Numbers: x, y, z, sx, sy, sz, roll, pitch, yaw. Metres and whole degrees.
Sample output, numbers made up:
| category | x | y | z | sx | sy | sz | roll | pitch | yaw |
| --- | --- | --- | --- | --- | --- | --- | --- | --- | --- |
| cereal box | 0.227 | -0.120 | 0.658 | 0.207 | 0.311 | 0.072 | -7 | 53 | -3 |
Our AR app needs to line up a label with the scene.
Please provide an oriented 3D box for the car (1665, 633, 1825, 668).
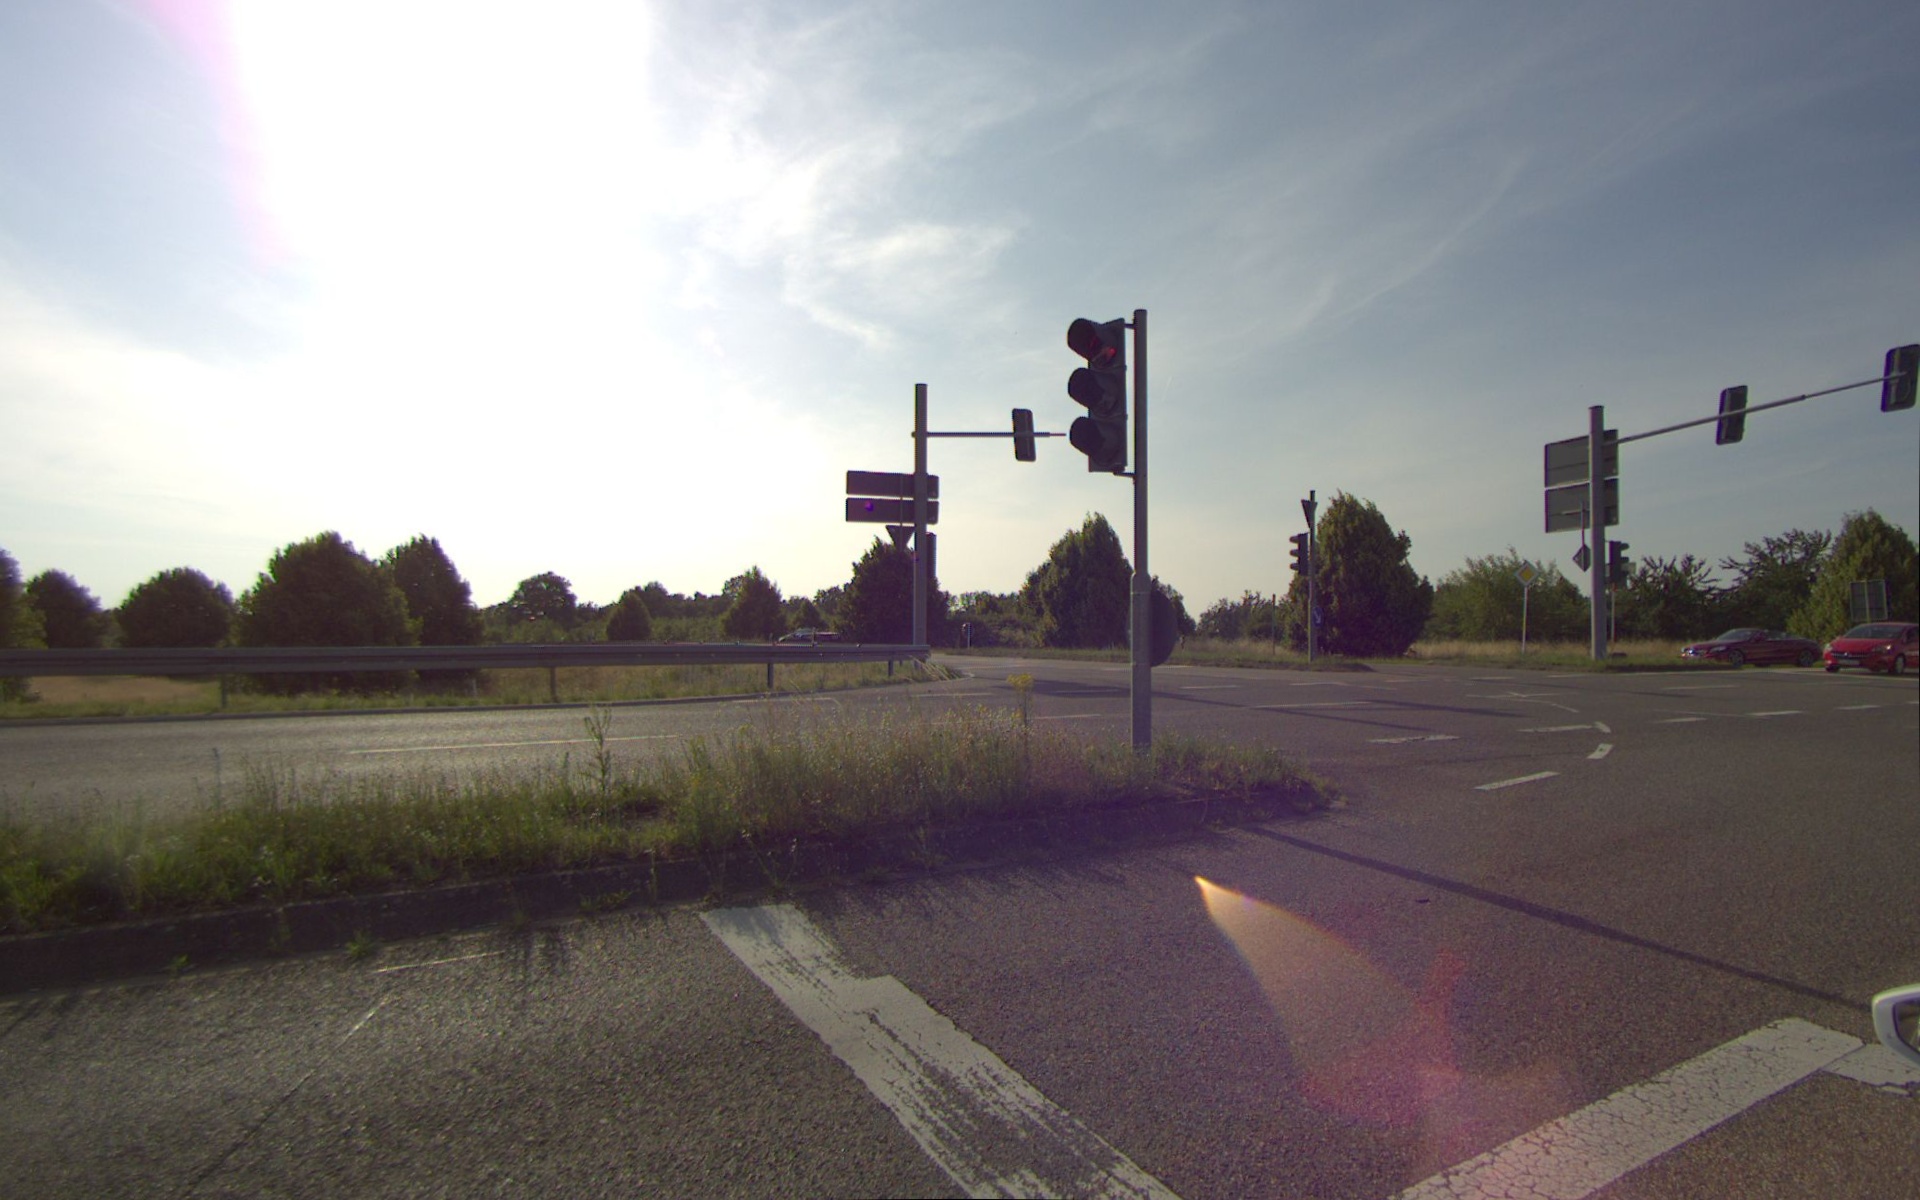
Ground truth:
| category | x | y | z | sx | sy | sz | roll | pitch | yaw |
| --- | --- | --- | --- | --- | --- | --- | --- | --- | --- |
| car | 27.481 | 1.766 | 35.212 | 4.396 | 1.116 | 1.997 | 1 | -1 | -9 |

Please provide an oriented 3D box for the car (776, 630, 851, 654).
| category | x | y | z | sx | sy | sz | roll | pitch | yaw |
| --- | --- | --- | --- | --- | --- | --- | --- | --- | --- |
| car | -8.360 | 2.358 | 56.931 | 4.598 | 1.299 | 1.717 | -1 | -2 | 43 |

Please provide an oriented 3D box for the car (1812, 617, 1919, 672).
| category | x | y | z | sx | sy | sz | roll | pitch | yaw |
| --- | --- | --- | --- | --- | --- | --- | --- | --- | --- |
| car | 26.771 | 1.277 | 29.278 | 3.756 | 1.507 | 1.714 | 1 | -1 | -28 |

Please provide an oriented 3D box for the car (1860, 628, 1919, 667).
| category | x | y | z | sx | sy | sz | roll | pitch | yaw |
| --- | --- | --- | --- | --- | --- | --- | --- | --- | --- |
| car | 35.187 | 1.713 | 36.619 | 4.145 | 1.344 | 1.658 | 1 | -1 | -17 |
